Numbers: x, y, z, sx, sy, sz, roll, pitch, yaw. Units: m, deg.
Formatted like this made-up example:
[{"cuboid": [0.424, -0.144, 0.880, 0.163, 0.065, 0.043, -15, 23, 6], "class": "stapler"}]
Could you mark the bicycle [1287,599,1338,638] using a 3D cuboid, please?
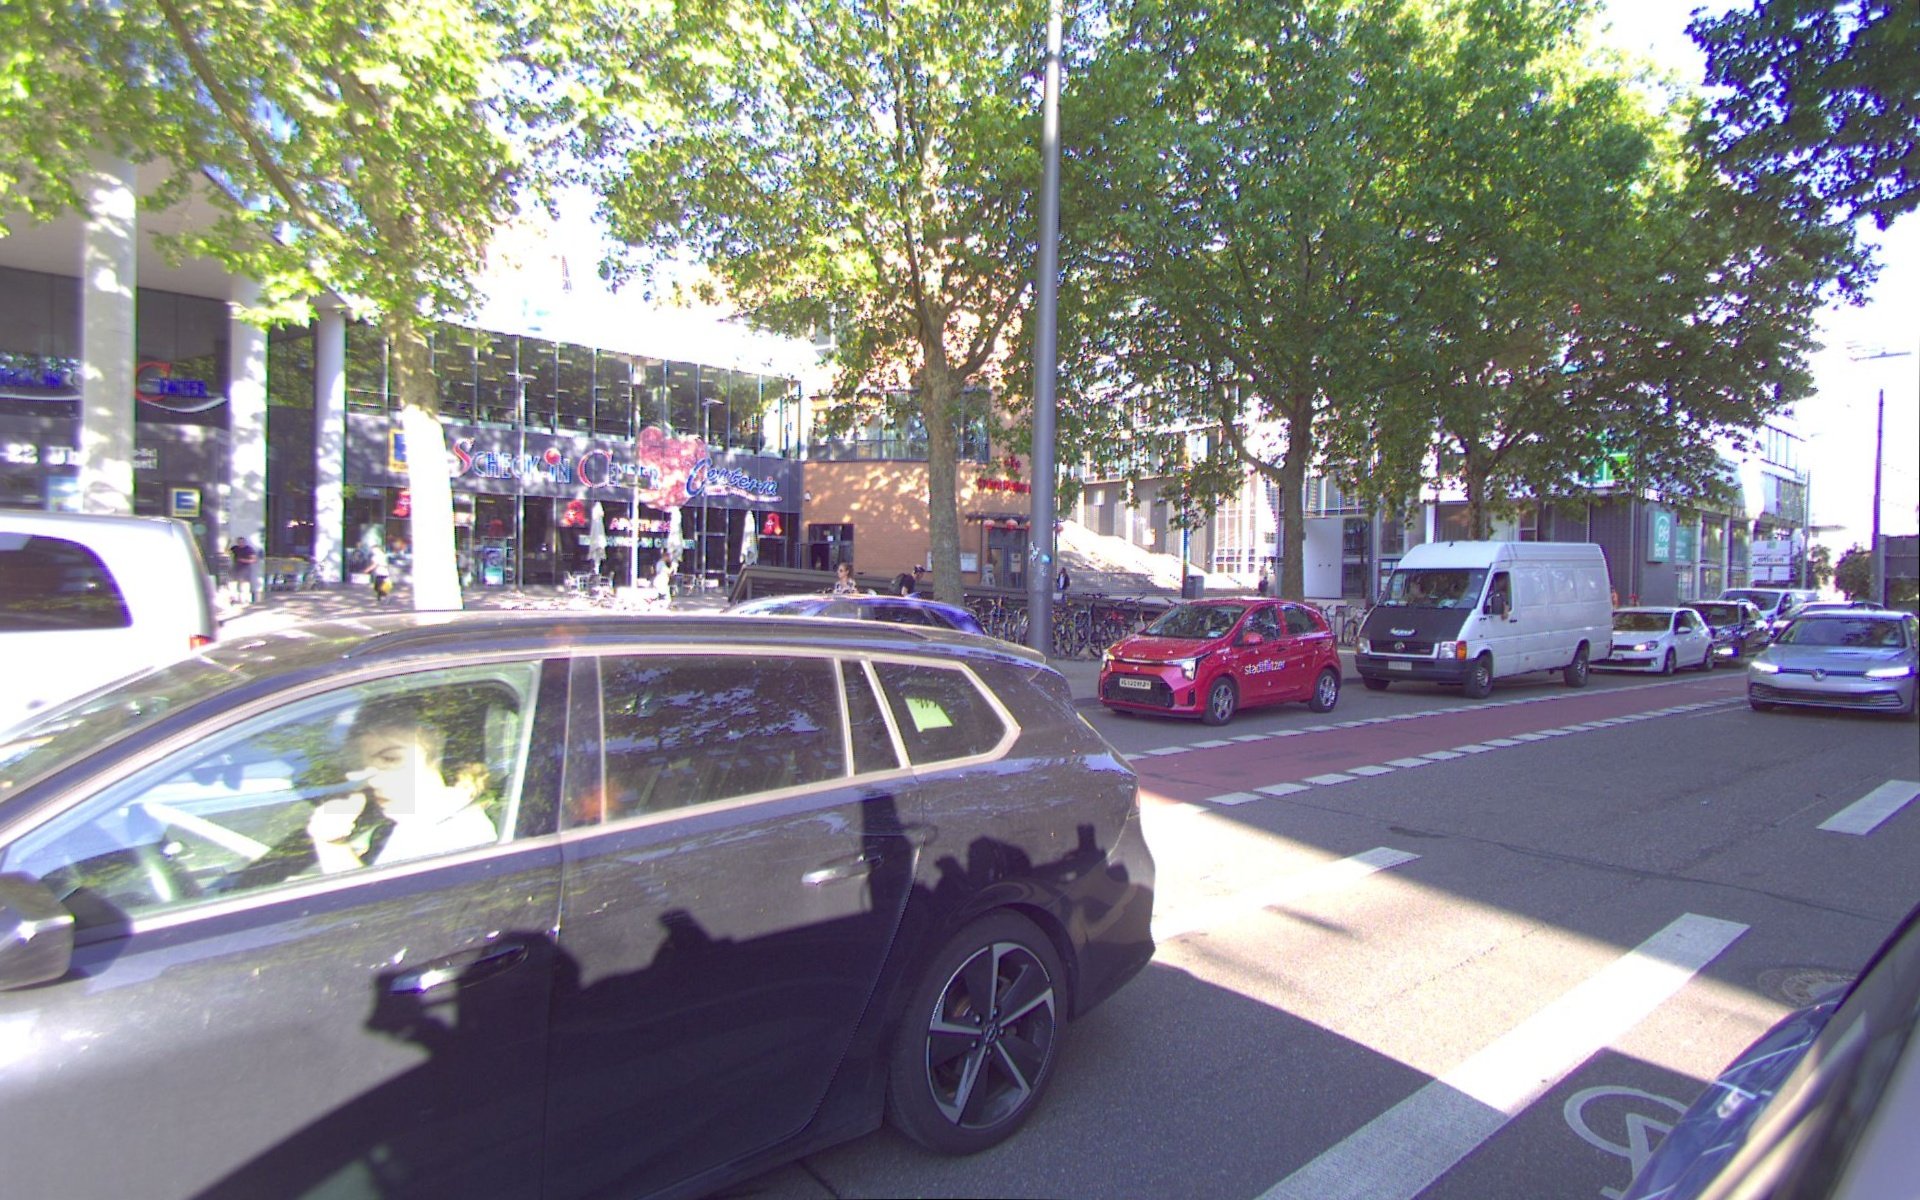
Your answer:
[{"cuboid": [9.924, 0.506, 28.460, 1.818, 1.046, 0.515, 0, 2, -41], "class": "bicycle"}]

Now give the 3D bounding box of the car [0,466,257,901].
[{"cuboid": [-6.201, 0.358, 4.390, 5.008, 2.004, 1.940, 0, 2, -41], "class": "car"}]

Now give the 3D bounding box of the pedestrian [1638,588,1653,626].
[{"cuboid": [25.802, 0.267, 38.108, 0.492, 1.392, 0.301, 0, 1, -37], "class": "pedestrian"}]

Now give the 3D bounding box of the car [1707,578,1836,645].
[{"cuboid": [26.378, 0.345, 32.858, 4.863, 2.020, 1.968, 0, 1, -35], "class": "car"}]

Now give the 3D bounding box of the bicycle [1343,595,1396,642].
[{"cuboid": [11.031, 0.479, 27.238, 1.818, 1.209, 0.521, 0, 2, -41], "class": "bicycle"}]

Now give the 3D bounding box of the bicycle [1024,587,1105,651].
[{"cuboid": [2.109, 0.363, 20.264, 1.818, 1.209, 0.484, 0, 2, -41], "class": "bicycle"}]

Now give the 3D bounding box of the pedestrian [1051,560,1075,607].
[{"cuboid": [4.550, -0.723, 44.543, 0.575, 2.062, 0.876, 1, 1, -35], "class": "pedestrian"}]

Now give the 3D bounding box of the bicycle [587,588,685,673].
[{"cuboid": [-4.436, 0.400, 13.889, 1.202, 1.110, 0.413, 0, 1, -40], "class": "bicycle"}]

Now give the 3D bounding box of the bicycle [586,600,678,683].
[{"cuboid": [-4.581, 0.565, 14.186, 1.202, 1.110, 0.269, 0, 1, -40], "class": "bicycle"}]

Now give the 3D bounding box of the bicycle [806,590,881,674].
[{"cuboid": [-1.809, 0.481, 15.819, 1.126, 1.271, 0.379, 0, 1, -41], "class": "bicycle"}]

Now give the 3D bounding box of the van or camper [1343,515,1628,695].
[{"cuboid": [9.289, 0.063, 17.547, 6.456, 2.611, 1.998, 0, 0, -39], "class": "van or camper"}]

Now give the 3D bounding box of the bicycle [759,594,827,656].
[{"cuboid": [-3.103, 0.445, 18.852, 1.202, 1.110, 0.427, 0, 1, -40], "class": "bicycle"}]

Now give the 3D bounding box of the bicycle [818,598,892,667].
[{"cuboid": [-1.772, 0.534, 17.123, 1.202, 1.110, 0.420, 0, 1, -40], "class": "bicycle"}]

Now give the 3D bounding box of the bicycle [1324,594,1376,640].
[{"cuboid": [10.664, 0.454, 27.637, 1.818, 1.209, 0.495, 0, 2, -41], "class": "bicycle"}]

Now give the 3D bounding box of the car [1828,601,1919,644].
[{"cuboid": [32.362, 0.746, 35.770, 3.927, 1.394, 1.802, 0, 2, -38], "class": "car"}]

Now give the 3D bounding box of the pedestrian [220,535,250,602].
[{"cuboid": [-18.750, -0.804, 26.186, 0.506, 1.707, 0.604, 1, 1, -23], "class": "pedestrian"}]

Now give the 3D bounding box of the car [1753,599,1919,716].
[{"cuboid": [12.914, 0.711, 14.433, 3.928, 1.458, 1.733, 0, 0, -39], "class": "car"}]

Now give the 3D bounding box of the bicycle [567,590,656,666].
[{"cuboid": [-5.360, 0.407, 15.593, 0.372, 1.110, 1.269, 2, 1, 41], "class": "bicycle"}]

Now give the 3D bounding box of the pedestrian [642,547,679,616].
[{"cuboid": [-7.982, -0.500, 26.990, 0.869, 1.805, 0.604, 1, 1, -11], "class": "pedestrian"}]

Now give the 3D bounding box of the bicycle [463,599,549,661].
[{"cuboid": [-7.121, 0.463, 15.925, 1.198, 0.938, 0.465, 1, 1, -22], "class": "bicycle"}]

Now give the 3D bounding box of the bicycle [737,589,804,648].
[{"cuboid": [-3.644, 0.344, 19.510, 1.202, 1.110, 0.444, 0, 1, -40], "class": "bicycle"}]

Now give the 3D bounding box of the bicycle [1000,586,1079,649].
[{"cuboid": [1.628, 0.340, 20.525, 1.818, 1.209, 0.447, 0, 1, -41], "class": "bicycle"}]

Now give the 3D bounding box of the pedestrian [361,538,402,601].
[{"cuboid": [-16.241, -0.861, 28.400, 0.801, 1.728, 0.709, 2, 1, 33], "class": "pedestrian"}]

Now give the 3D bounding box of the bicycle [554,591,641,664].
[{"cuboid": [-5.820, 0.420, 16.268, 0.414, 1.110, 1.269, 2, 1, 41], "class": "bicycle"}]

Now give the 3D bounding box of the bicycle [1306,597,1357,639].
[{"cuboid": [10.308, 0.481, 28.049, 1.766, 1.108, 0.522, 0, 2, -41], "class": "bicycle"}]

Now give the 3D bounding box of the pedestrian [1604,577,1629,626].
[{"cuboid": [24.504, 0.054, 37.779, 0.443, 1.790, 0.627, 0, 1, -39], "class": "pedestrian"}]

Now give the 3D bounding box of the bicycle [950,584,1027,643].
[{"cuboid": [0.636, 0.272, 21.706, 1.818, 1.209, 0.434, 0, 1, -41], "class": "bicycle"}]

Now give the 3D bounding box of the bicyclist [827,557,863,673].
[{"cuboid": [-1.799, 0.227, 15.820, 0.392, 1.782, 0.390, 0, 1, -41], "class": "bicyclist"}]

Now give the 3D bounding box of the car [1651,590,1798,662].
[{"cuboid": [19.091, 0.593, 25.227, 4.148, 1.640, 1.819, 0, 1, -36], "class": "car"}]

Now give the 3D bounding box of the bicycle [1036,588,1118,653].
[{"cuboid": [2.298, 0.389, 19.756, 1.818, 1.209, 0.448, 0, 1, -41], "class": "bicycle"}]

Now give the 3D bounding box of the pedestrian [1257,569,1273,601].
[{"cuboid": [15.453, -0.749, 51.330, 0.707, 1.578, 0.638, 1, 1, 14], "class": "pedestrian"}]

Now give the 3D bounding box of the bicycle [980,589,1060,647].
[{"cuboid": [1.255, 0.352, 20.974, 1.818, 1.139, 0.484, 0, 2, -41], "class": "bicycle"}]

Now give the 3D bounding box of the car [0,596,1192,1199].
[{"cuboid": [-1.418, 0.709, 2.452, 4.196, 1.432, 1.742, 0, 0, -41], "class": "car"}]

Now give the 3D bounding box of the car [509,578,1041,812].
[{"cuboid": [-1.398, 0.609, 8.665, 4.177, 1.503, 1.742, 0, 2, -41], "class": "car"}]

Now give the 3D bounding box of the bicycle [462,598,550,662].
[{"cuboid": [-6.959, 0.454, 15.548, 1.198, 0.930, 0.442, 1, 1, -22], "class": "bicycle"}]

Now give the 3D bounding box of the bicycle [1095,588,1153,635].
[{"cuboid": [4.397, 0.306, 27.063, 1.759, 1.209, 0.517, 0, 2, -41], "class": "bicycle"}]

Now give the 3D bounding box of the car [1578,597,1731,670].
[{"cuboid": [15.320, 0.677, 22.268, 3.927, 1.446, 1.683, 0, 1, -38], "class": "car"}]

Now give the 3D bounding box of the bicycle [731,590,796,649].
[{"cuboid": [-3.888, 0.373, 20.054, 1.202, 1.110, 0.429, 0, 1, -40], "class": "bicycle"}]

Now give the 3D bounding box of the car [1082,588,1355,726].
[{"cuboid": [3.358, 0.610, 12.837, 3.588, 1.476, 1.605, 0, 1, -41], "class": "car"}]

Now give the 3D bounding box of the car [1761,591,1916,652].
[{"cuboid": [25.403, 0.583, 29.253, 4.242, 1.640, 1.970, 0, 1, -28], "class": "car"}]

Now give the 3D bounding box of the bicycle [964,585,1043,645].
[{"cuboid": [0.934, 0.297, 21.353, 1.818, 1.209, 0.458, 0, 1, -41], "class": "bicycle"}]

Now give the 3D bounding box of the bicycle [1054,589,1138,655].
[{"cuboid": [2.620, 0.400, 19.370, 1.818, 1.209, 0.481, 0, 2, -41], "class": "bicycle"}]

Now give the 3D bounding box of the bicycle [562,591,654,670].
[{"cuboid": [-5.158, 0.425, 14.845, 1.202, 1.110, 0.396, 0, 1, -40], "class": "bicycle"}]

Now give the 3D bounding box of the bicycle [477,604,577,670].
[{"cuboid": [-6.239, 0.519, 14.601, 1.231, 0.898, 0.462, 0, 1, -40], "class": "bicycle"}]
